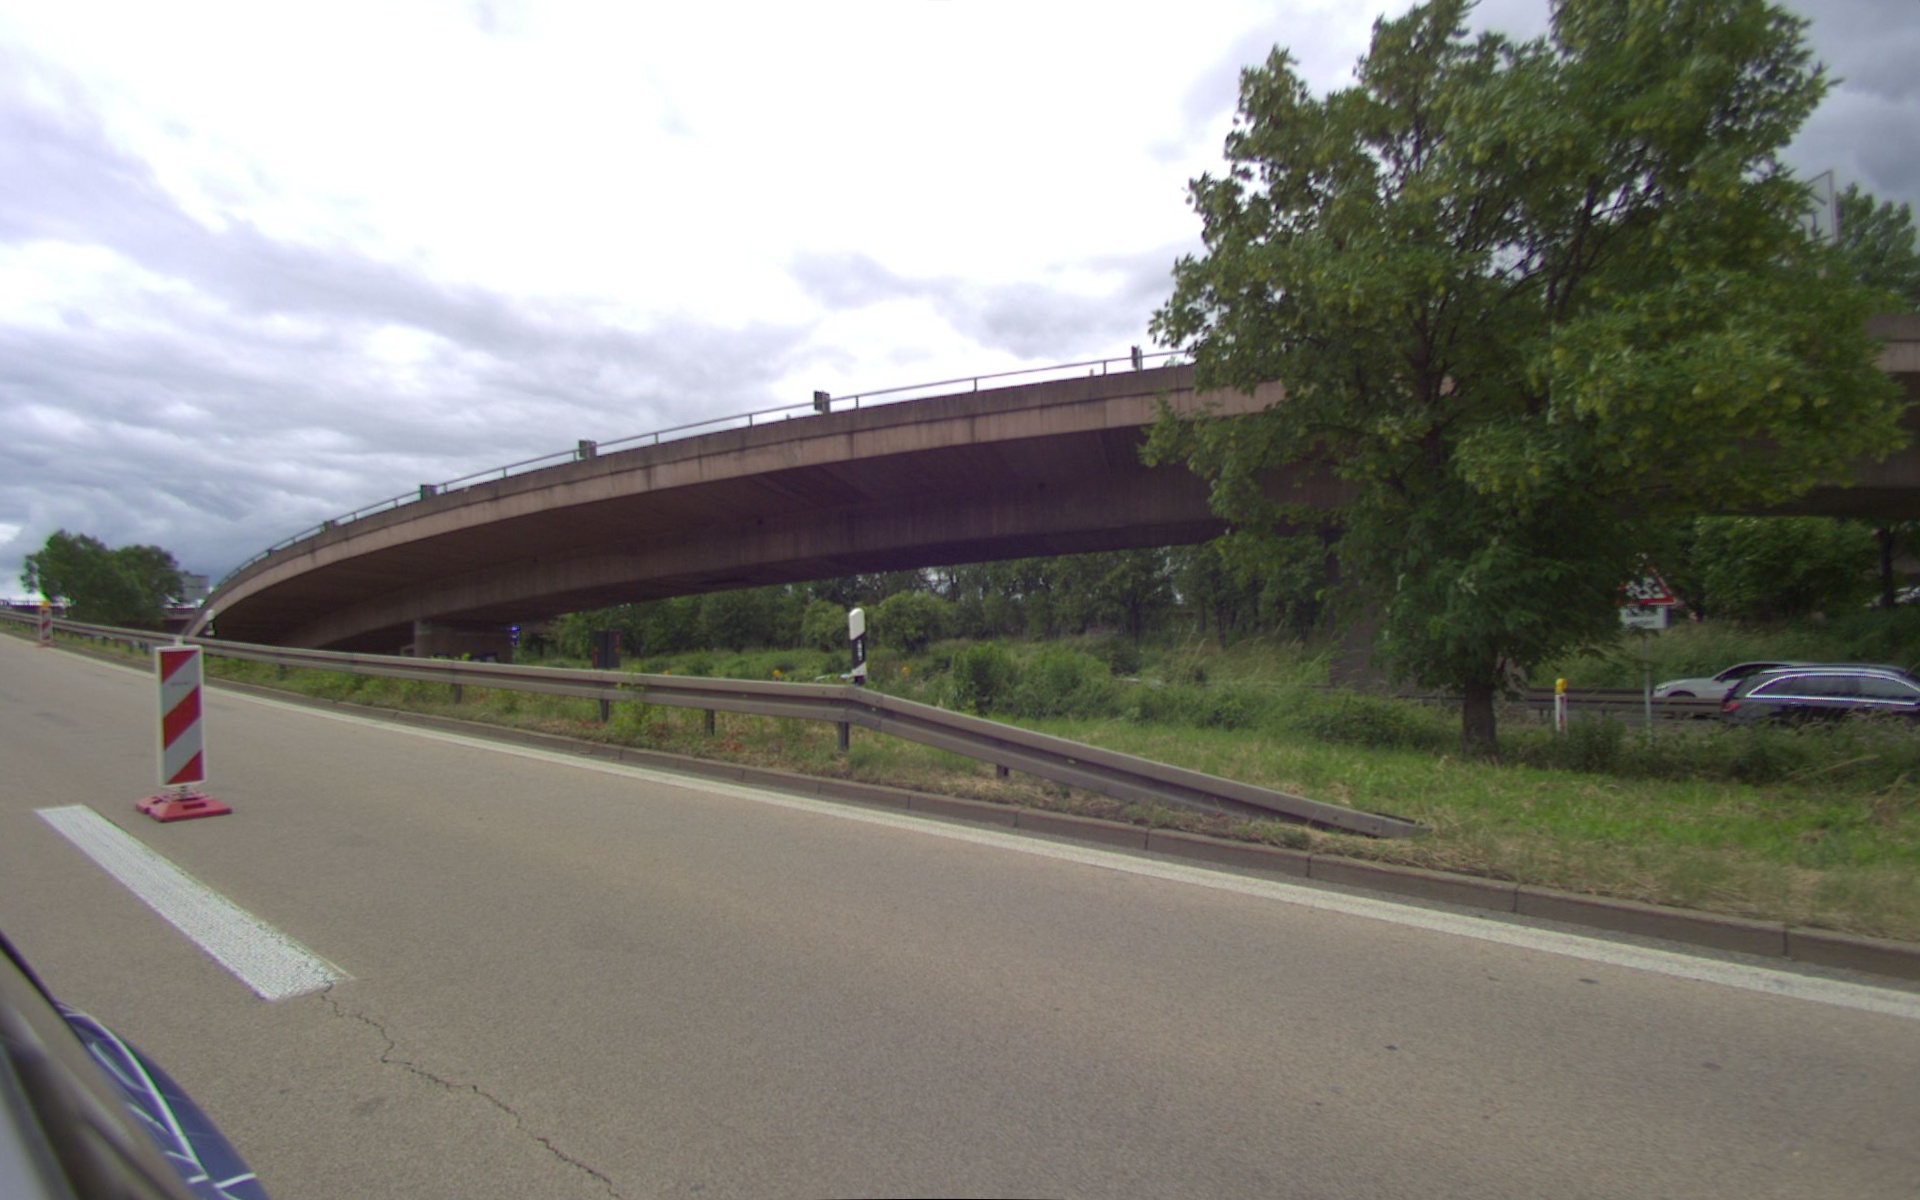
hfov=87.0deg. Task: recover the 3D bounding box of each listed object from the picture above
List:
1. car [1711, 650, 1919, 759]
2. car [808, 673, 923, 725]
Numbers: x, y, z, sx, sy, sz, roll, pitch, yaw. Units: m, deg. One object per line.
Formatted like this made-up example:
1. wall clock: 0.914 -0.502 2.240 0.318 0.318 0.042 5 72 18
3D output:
1. car: 15.392 1.657 16.558 2.012 1.627 4.585 0 -3 -40
2. car: -3.468 3.516 36.519 2.012 1.627 4.301 0 -3 -40
